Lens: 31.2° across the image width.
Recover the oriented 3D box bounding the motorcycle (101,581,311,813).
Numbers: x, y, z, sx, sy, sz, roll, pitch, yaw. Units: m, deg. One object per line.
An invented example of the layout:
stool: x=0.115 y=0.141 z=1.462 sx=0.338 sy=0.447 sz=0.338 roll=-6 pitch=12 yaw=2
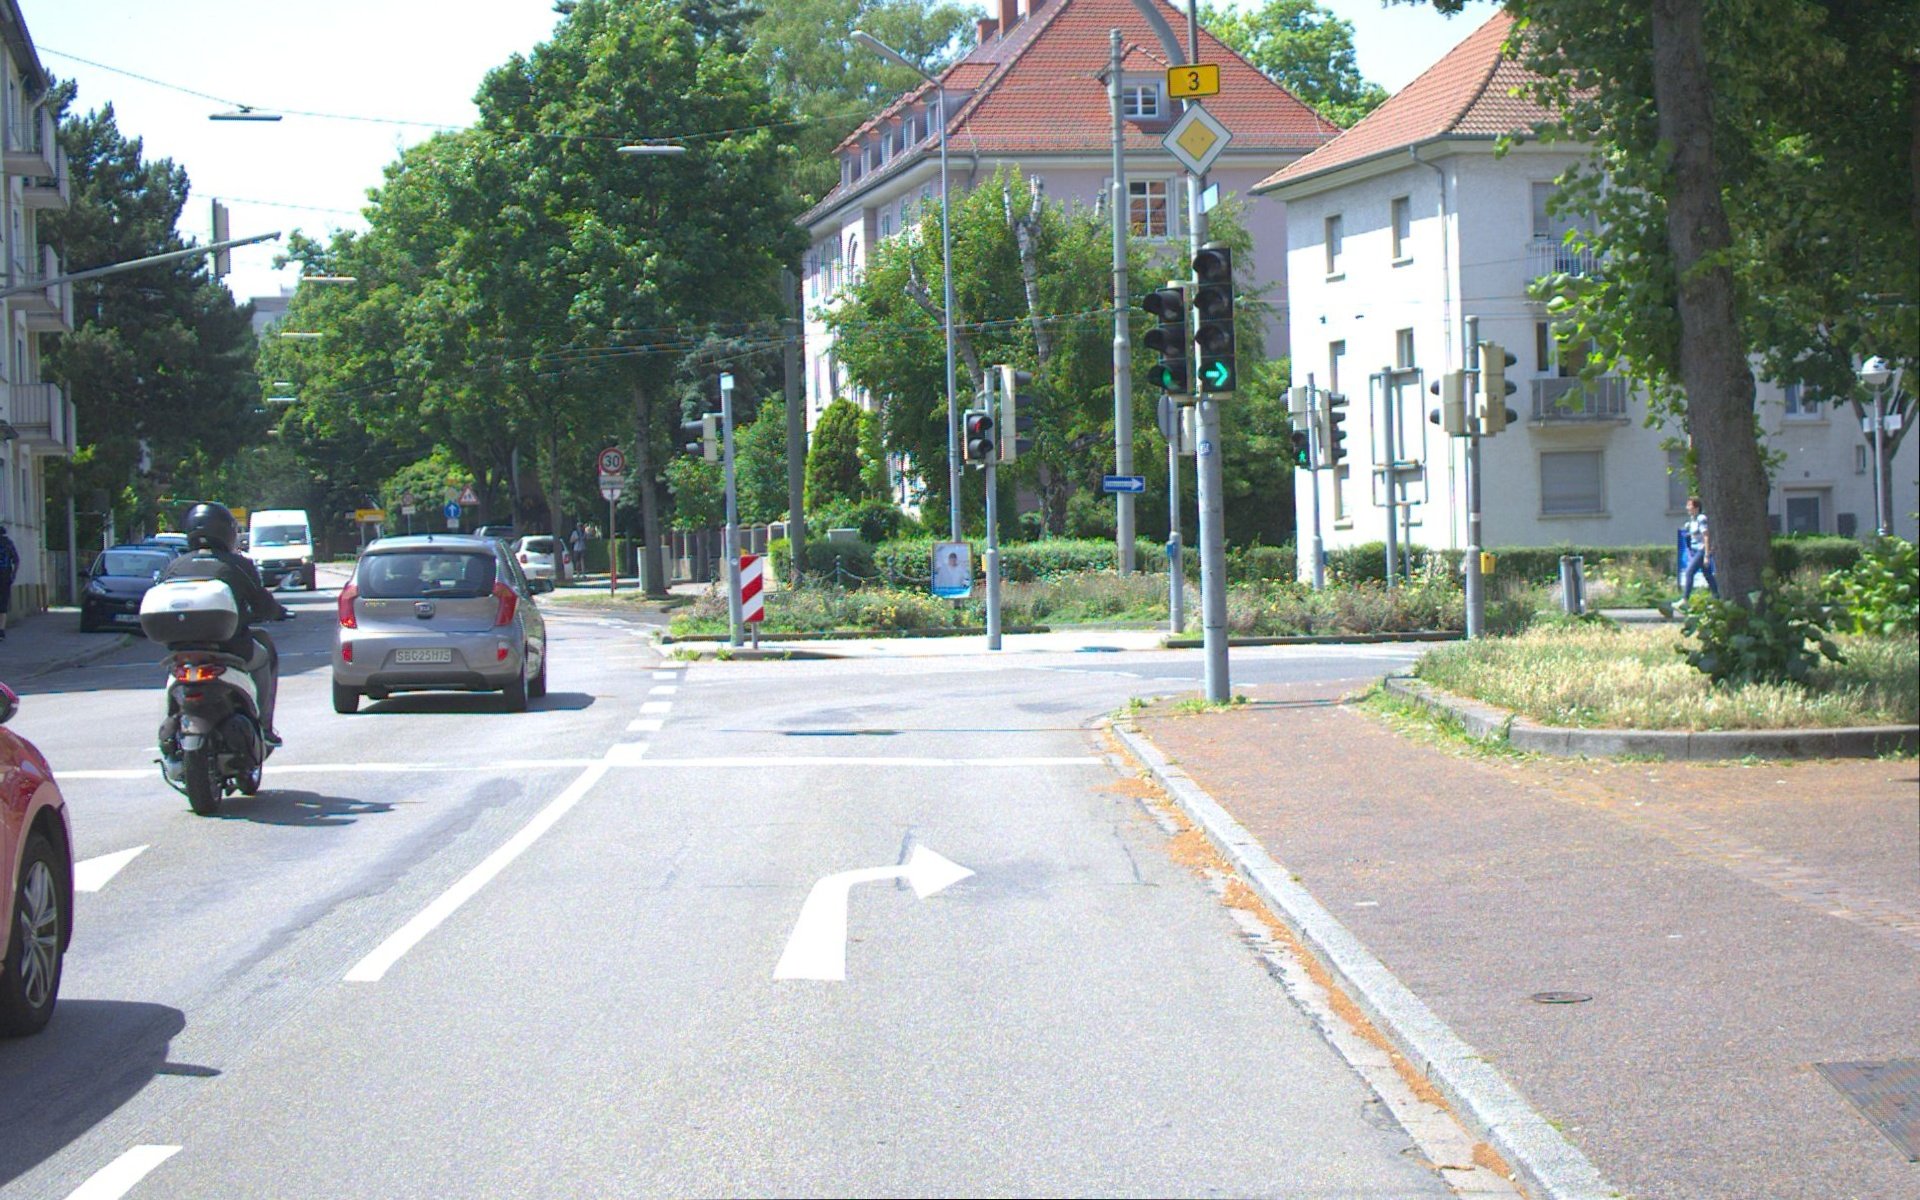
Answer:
motorcycle: x=-4.050 y=0.489 z=18.627 sx=0.711 sy=1.130 sz=2.197 roll=-1 pitch=1 yaw=-2

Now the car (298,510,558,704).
car: x=-4.577 y=0.013 z=30.079 sx=1.798 sy=1.552 sz=4.038 roll=-1 pitch=1 yaw=-3

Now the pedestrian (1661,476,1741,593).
pedestrian: x=10.933 y=-0.971 z=50.747 sx=0.835 sy=1.699 sz=0.762 roll=-1 pitch=1 yaw=-28

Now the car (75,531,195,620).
car: x=-14.654 y=-0.434 z=60.973 sx=1.993 sy=1.514 sz=4.001 roll=0 pitch=0 yaw=-14

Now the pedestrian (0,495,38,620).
pedestrian: x=-14.953 y=-0.661 z=53.807 sx=0.935 sy=1.925 sz=0.977 roll=-1 pitch=1 yaw=-13

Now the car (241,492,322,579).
car: x=-21.450 y=-2.026 z=108.985 sx=2.215 sy=2.492 sz=7.556 roll=-5 pitch=2 yaw=-10

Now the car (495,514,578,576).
car: x=-12.495 y=-1.638 z=101.366 sx=1.993 sy=1.801 sz=4.001 roll=-1 pitch=1 yaw=-13

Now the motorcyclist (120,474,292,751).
motorcyclist: x=-4.044 y=0.055 z=18.506 sx=0.711 sy=1.440 sz=1.019 roll=-1 pitch=1 yaw=-2

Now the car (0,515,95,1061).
car: x=-3.626 y=0.557 z=8.841 sx=1.799 sy=1.552 sz=4.038 roll=0 pitch=1 yaw=0

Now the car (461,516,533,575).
car: x=-15.435 y=-1.834 z=114.527 sx=1.993 sy=1.900 sz=4.001 roll=-1 pitch=1 yaw=-13

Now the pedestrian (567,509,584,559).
pedestrian: x=-12.661 y=-2.169 z=113.233 sx=0.508 sy=1.650 sz=0.466 roll=-1 pitch=1 yaw=-8
